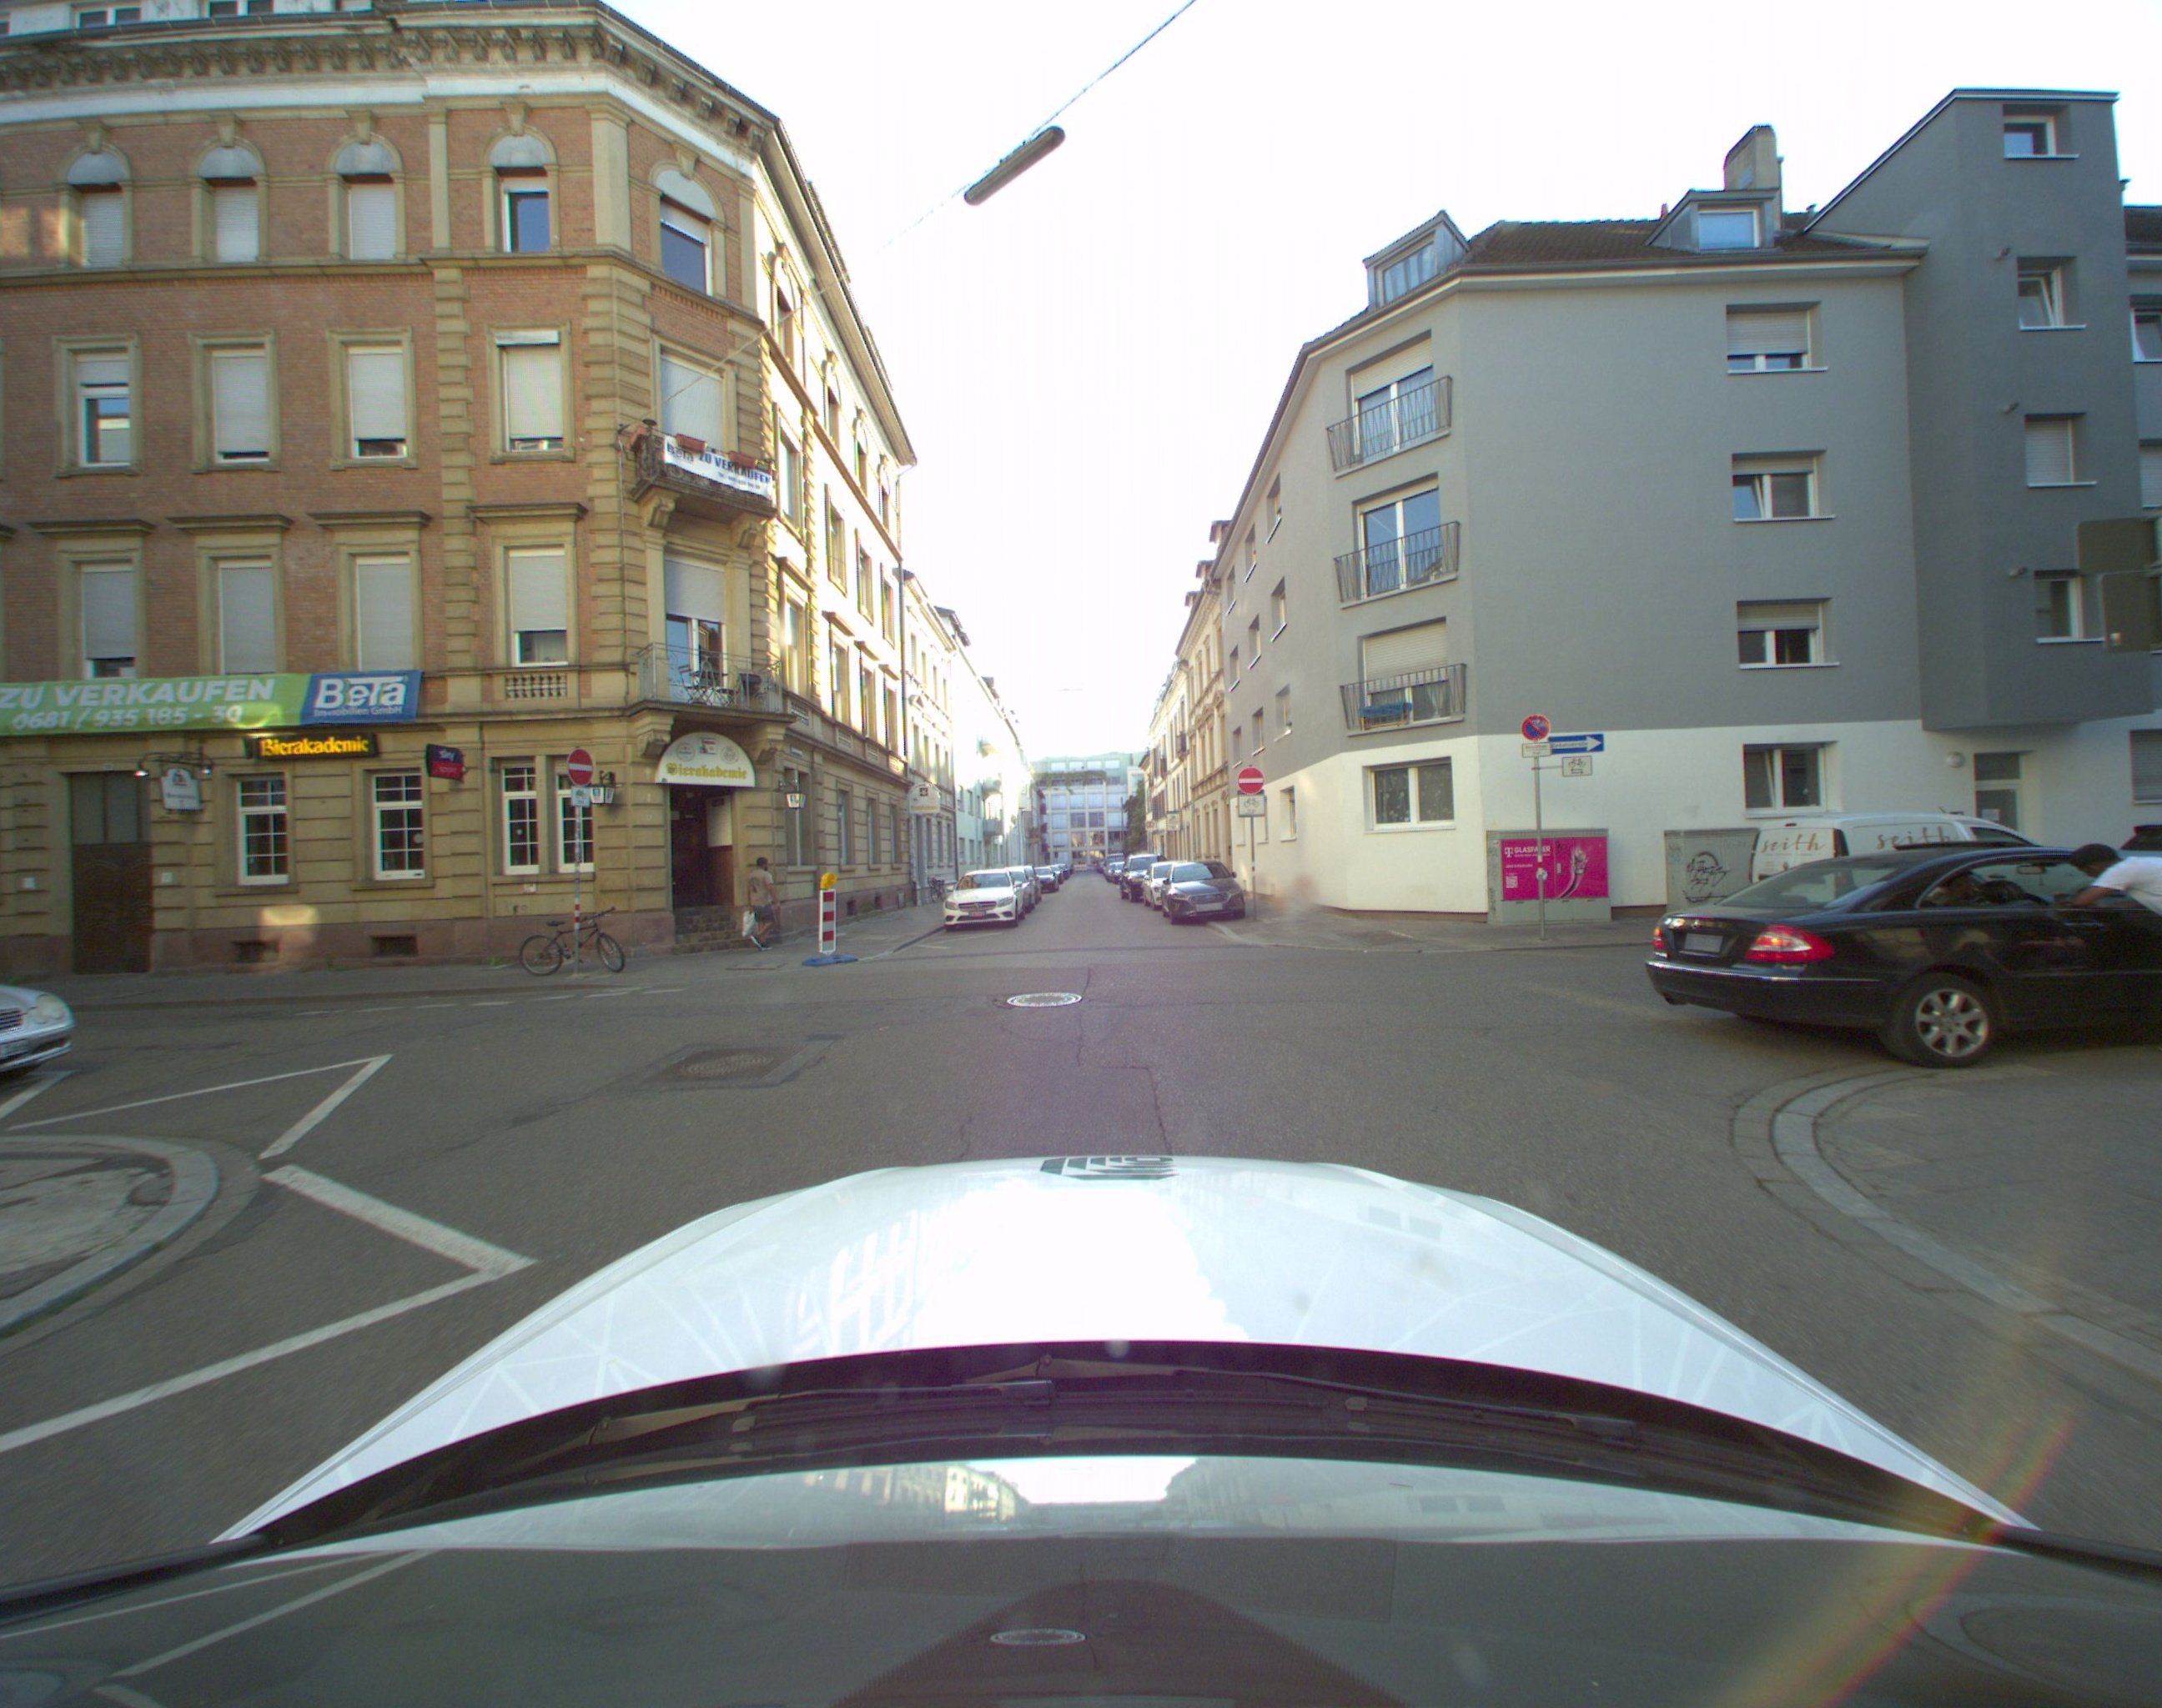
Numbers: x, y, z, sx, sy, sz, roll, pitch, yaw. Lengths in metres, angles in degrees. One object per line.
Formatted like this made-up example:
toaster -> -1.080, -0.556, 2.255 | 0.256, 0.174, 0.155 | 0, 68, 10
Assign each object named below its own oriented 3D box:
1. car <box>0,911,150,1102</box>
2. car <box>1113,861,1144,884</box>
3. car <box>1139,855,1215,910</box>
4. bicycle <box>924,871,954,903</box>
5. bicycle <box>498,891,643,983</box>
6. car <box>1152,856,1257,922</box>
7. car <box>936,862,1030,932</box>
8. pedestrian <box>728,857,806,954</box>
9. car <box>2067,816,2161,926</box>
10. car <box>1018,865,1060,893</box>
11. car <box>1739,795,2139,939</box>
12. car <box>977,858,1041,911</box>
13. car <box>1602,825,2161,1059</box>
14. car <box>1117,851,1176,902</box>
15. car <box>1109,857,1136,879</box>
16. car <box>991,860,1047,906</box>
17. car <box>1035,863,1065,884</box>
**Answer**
car -> -10.646, 1.311, 6.383 | 4.462, 1.401, 1.755 | -2, 1, -2
car -> 3.295, 1.264, 57.129 | 1.986, 1.451, 4.001 | -2, 0, 1
car -> 3.014, 0.871, 26.431 | 1.957, 1.557, 3.888 | -2, 0, 0
bicycle -> -5.703, 1.305, 32.789 | 0.735, 1.160, 2.461 | -2, 0, 0
bicycle -> -8.022, 1.291, 12.851 | 1.754, 1.275, 0.660 | -2, 3, -4
car -> 2.958, 0.796, 20.362 | 1.932, 1.372, 3.787 | -4, 0, -1
car -> -2.482, 1.038, 21.667 | 1.988, 1.564, 4.503 | -2, 0, -1
pedestrian -> -5.985, 0.944, 15.520 | 0.972, 1.742, 1.023 | -2, -1, 43
car -> 17.628, 0.142, 11.984 | 4.344, 1.564, 1.766 | -3, -1, -4
car -> -2.242, 1.311, 44.376 | 1.987, 1.355, 4.428 | -2, 0, 0
car -> 12.464, 0.177, 12.013 | 4.159, 1.813, 1.636 | -2, 0, -1
car -> -2.319, 0.961, 27.074 | 1.619, 1.577, 3.755 | -2, 0, 2
car -> 6.928, 0.547, 6.168 | 4.694, 1.408, 1.892 | -2, 0, 3
car -> 2.498, 0.840, 31.848 | 1.888, 1.784, 3.998 | -2, 0, -1
car -> 3.396, 1.158, 67.667 | 1.987, 1.700, 3.999 | -2, 0, 0
car -> -2.449, 1.124, 32.811 | 1.779, 1.659, 3.818 | -2, 0, 2
car -> -2.321, 1.458, 62.096 | 2.167, 1.418, 3.997 | -2, 0, -2
